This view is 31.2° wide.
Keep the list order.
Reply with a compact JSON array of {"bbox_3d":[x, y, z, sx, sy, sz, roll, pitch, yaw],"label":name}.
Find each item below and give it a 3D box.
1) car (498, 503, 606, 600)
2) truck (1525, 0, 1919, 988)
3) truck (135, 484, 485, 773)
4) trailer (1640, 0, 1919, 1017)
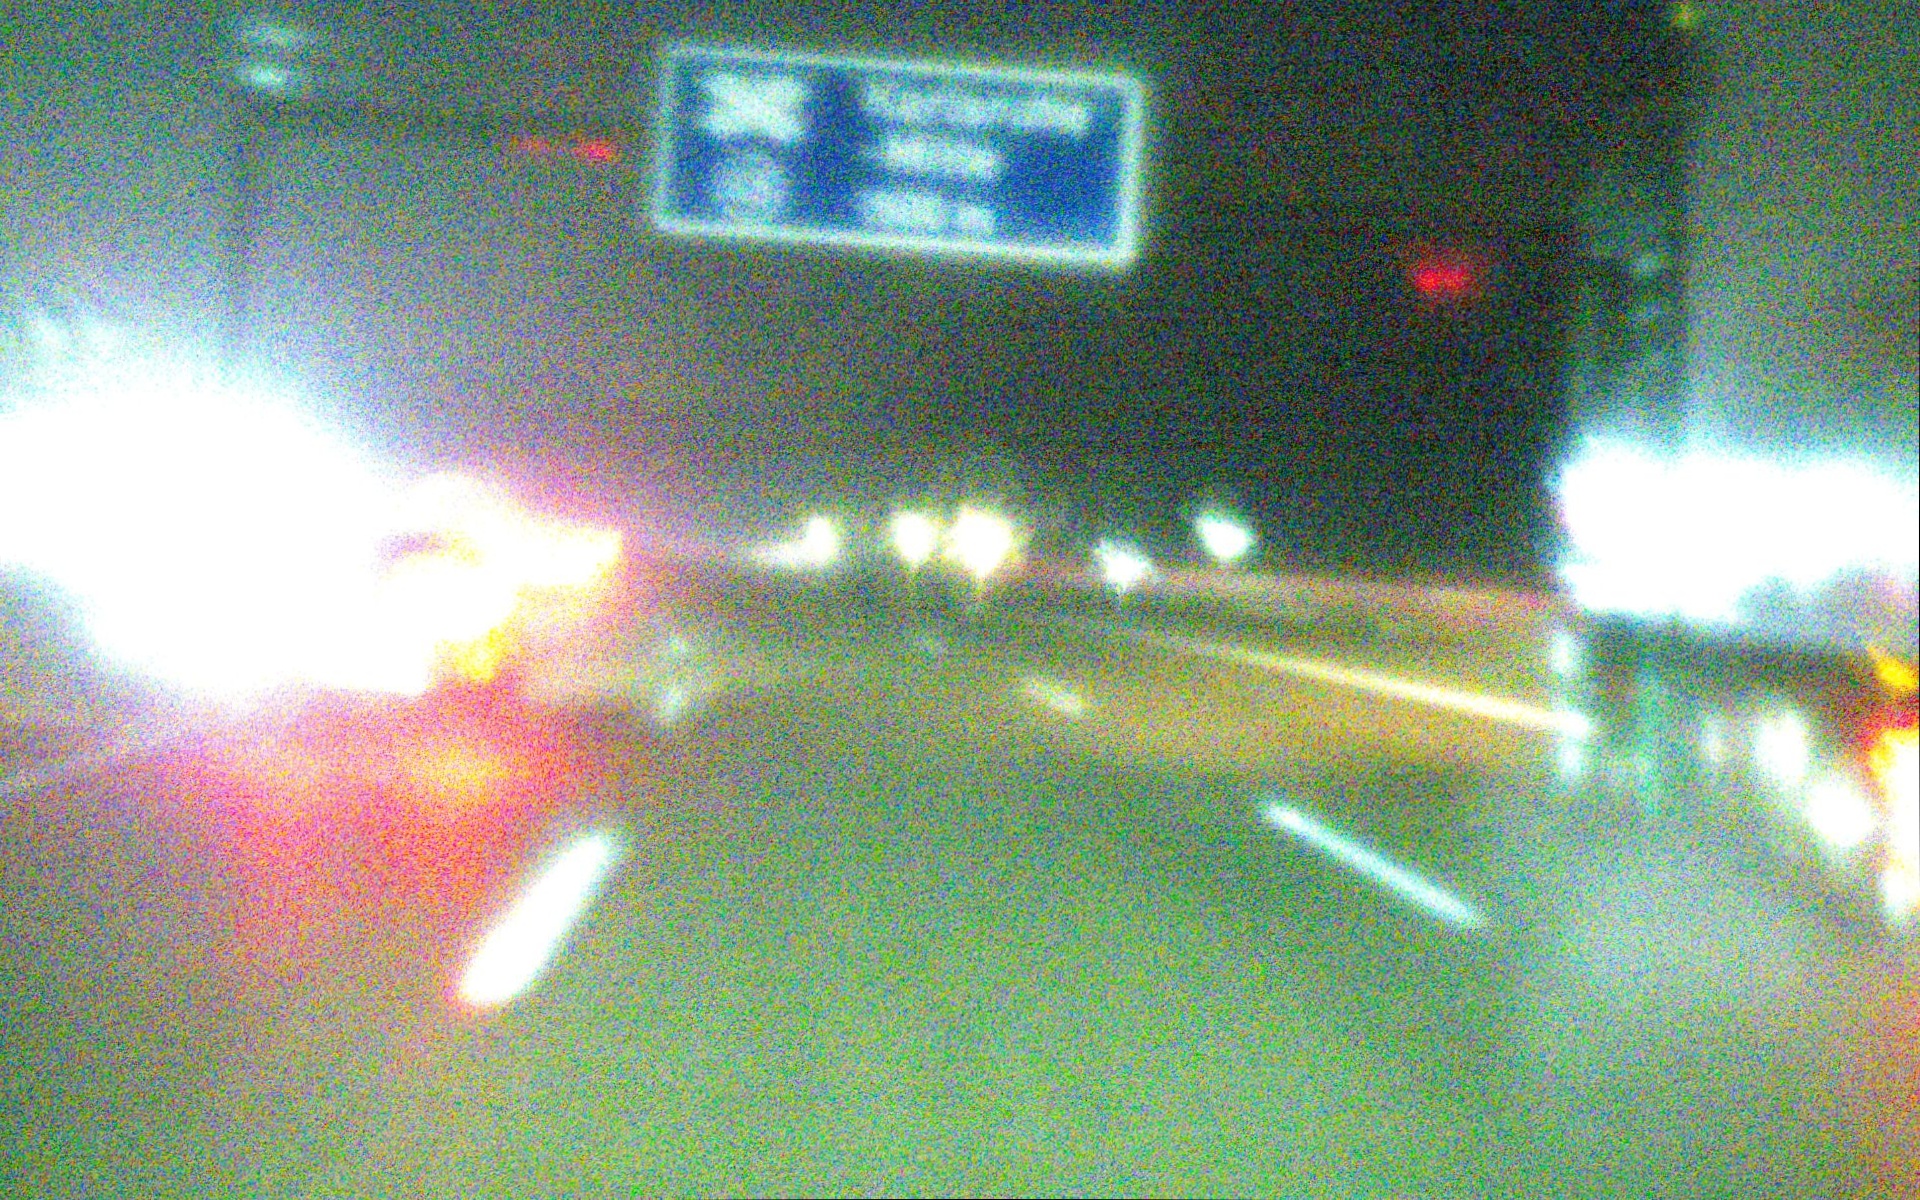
[{"bbox_3d":[-9.498,-1.167,80.332,1.993,2.006,4.001,4,2,-1],"label":"car"},{"bbox_3d":[4.453,-0.816,15.086,2.710,4.226,5.294,-2,1,-3],"label":"truck"},{"bbox_3d":[-5.348,0.110,29.194,2.144,2.070,6.605,1,2,-4],"label":"truck"},{"bbox_3d":[4.673,-0.690,8.182,2.739,4.233,13.373,2,1,-3],"label":"trailer"}]
